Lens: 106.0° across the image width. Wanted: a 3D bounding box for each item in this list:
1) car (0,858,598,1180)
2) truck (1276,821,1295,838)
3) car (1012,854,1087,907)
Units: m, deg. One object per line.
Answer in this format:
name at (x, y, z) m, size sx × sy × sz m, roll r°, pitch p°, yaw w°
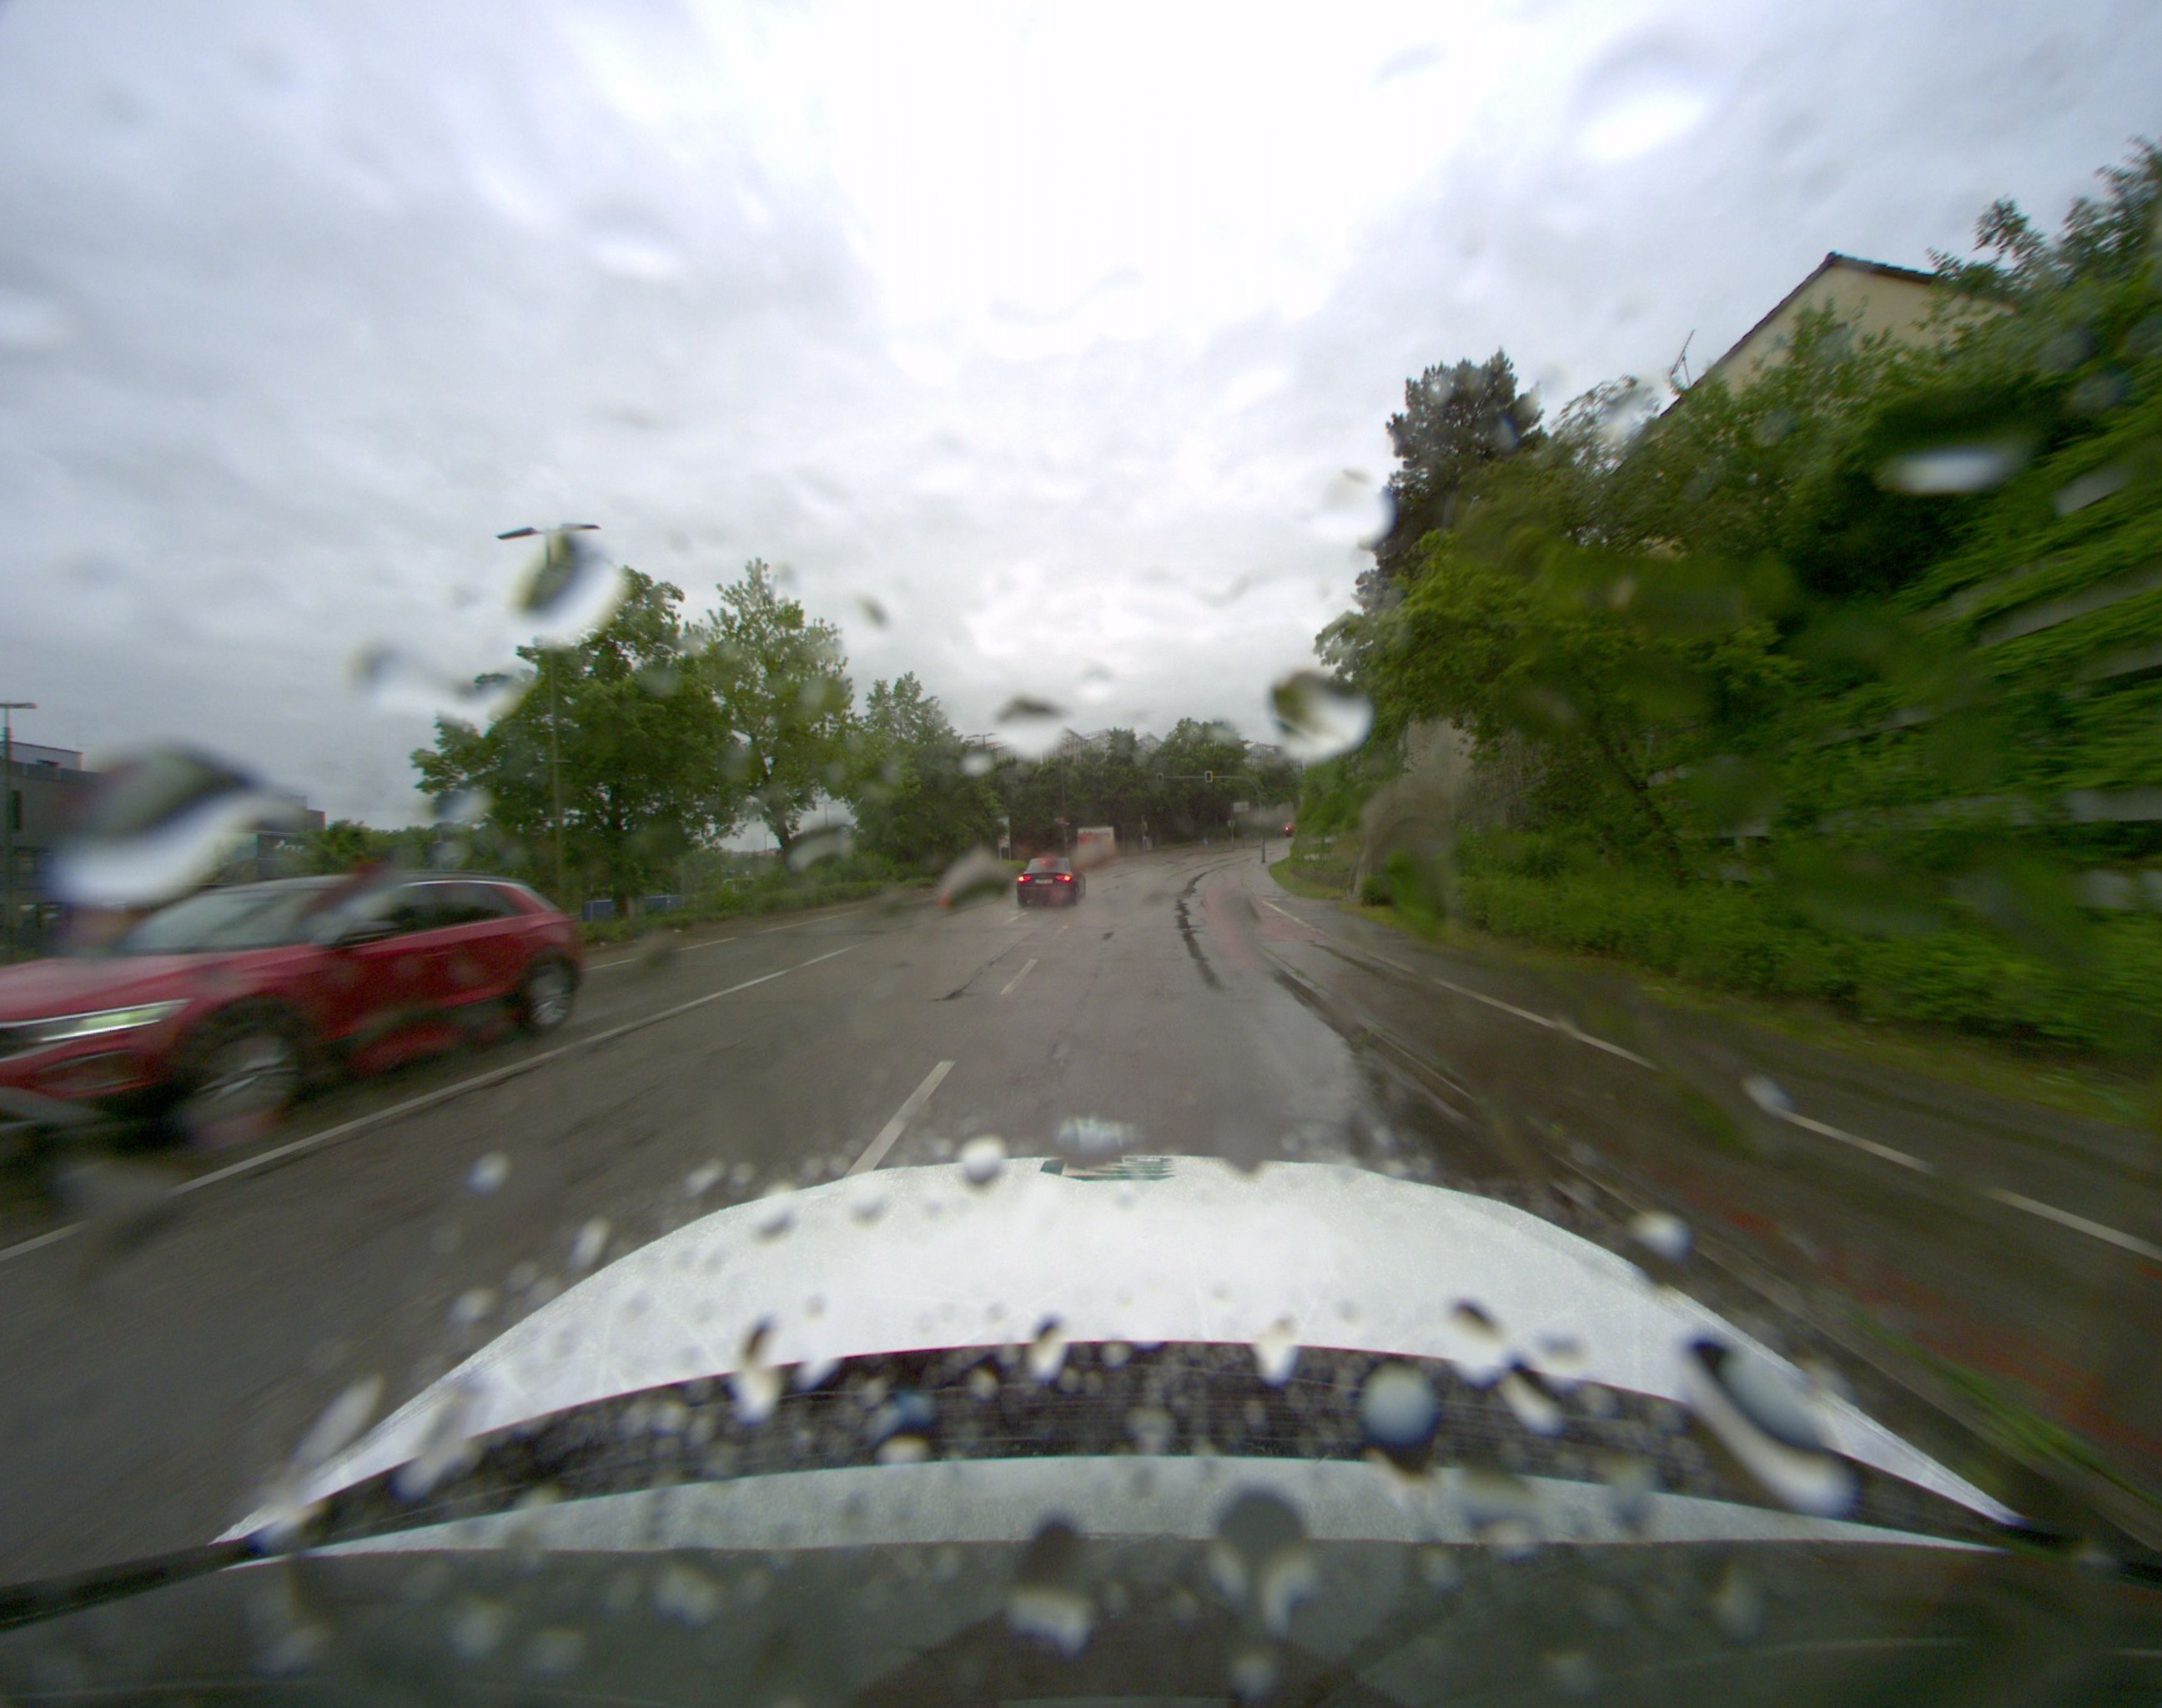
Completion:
car at (-5.792, 0.877, 6.159) m, size 1.748 × 1.535 × 4.001 m, roll -2°, pitch 1°, yaw 1°
truck at (26.539, -3.225, 105.635) m, size 1.978 × 2.013 × 5.363 m, roll -3°, pitch 1°, yaw 18°
car at (-0.878, 0.749, 25.144) m, size 1.746 × 1.395 × 4.006 m, roll -2°, pitch 1°, yaw 5°
